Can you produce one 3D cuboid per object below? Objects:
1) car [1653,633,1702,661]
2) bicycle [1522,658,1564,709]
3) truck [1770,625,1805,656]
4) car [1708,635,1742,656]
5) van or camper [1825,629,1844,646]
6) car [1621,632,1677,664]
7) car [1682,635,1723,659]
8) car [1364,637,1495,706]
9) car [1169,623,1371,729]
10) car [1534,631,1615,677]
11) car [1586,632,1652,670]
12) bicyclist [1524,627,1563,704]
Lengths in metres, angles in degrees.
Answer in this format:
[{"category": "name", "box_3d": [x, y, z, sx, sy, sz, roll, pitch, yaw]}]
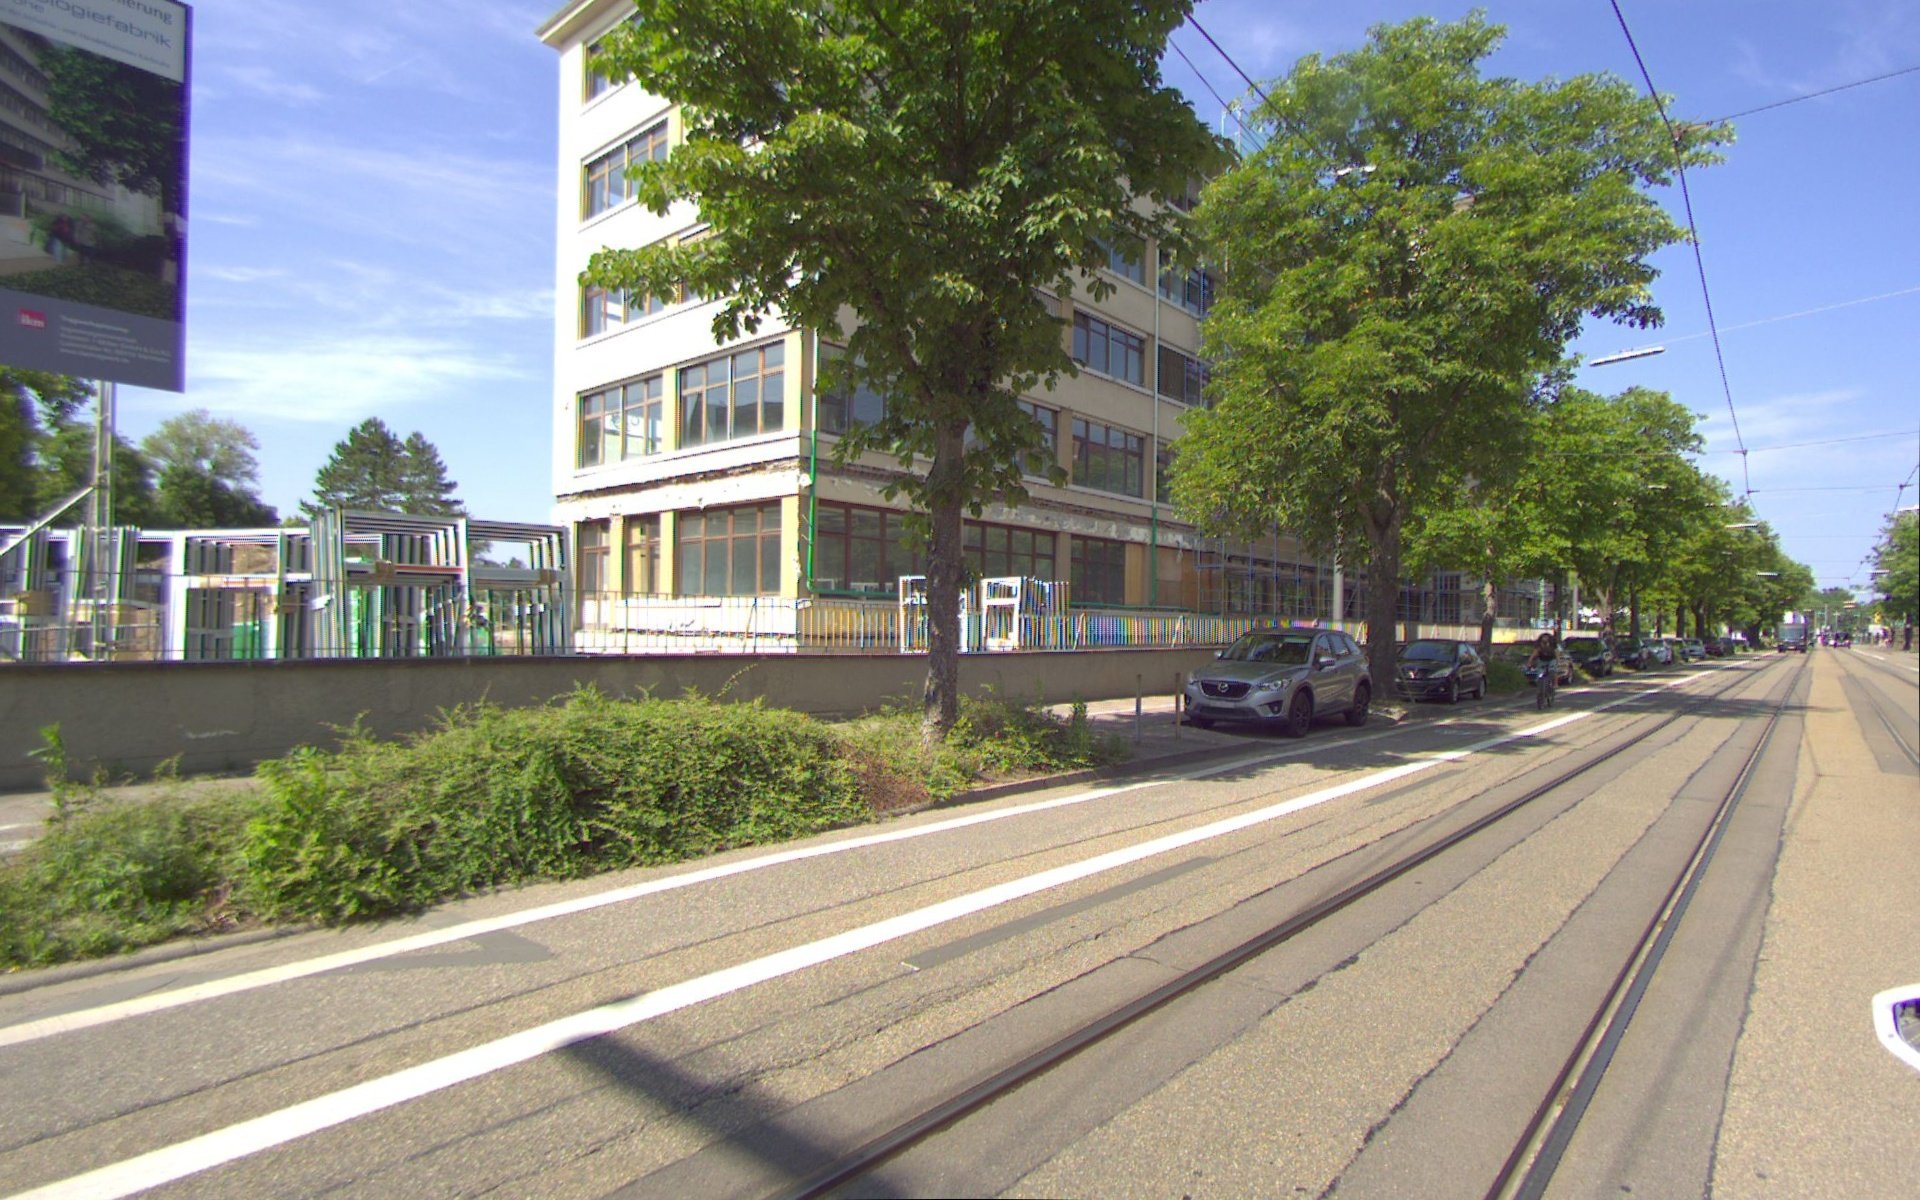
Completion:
[{"category": "car", "box_3d": [44.290, 2.860, 61.986, 1.972, 1.661, 3.977, -2, -3, 43]}, {"category": "bicycle", "box_3d": [12.721, 1.804, 21.887, 0.588, 1.020, 1.480, 0, -1, 38]}, {"category": "truck", "box_3d": [82.877, 4.016, 100.579, 2.530, 2.977, 5.053, 0, -1, 41]}, {"category": "car", "box_3d": [61.931, 3.657, 81.289, 1.970, 1.661, 3.981, 0, -1, 40]}, {"category": "van or camper", "box_3d": [140.092, 5.960, 160.925, 2.019, 2.654, 5.835, 0, -1, 39]}, {"category": "car", "box_3d": [37.948, 2.613, 55.322, 1.972, 1.661, 3.977, -2, -3, 43]}, {"category": "car", "box_3d": [53.195, 3.338, 71.919, 1.926, 1.661, 3.977, 0, -1, 43]}, {"category": "car", "box_3d": [11.323, 1.681, 24.104, 1.795, 1.471, 3.981, -6, -6, 40]}, {"category": "car", "box_3d": [5.294, 1.186, 16.834, 1.794, 1.514, 4.088, 0, -2, 40]}, {"category": "car", "box_3d": [24.091, 2.058, 39.331, 1.972, 1.661, 3.977, 0, -1, 43]}, {"category": "car", "box_3d": [31.093, 2.352, 47.342, 1.972, 1.661, 3.977, 0, -1, 43]}, {"category": "bicyclist", "box_3d": [12.712, 1.411, 21.878, 0.622, 1.628, 0.699, 0, -1, 39]}]
